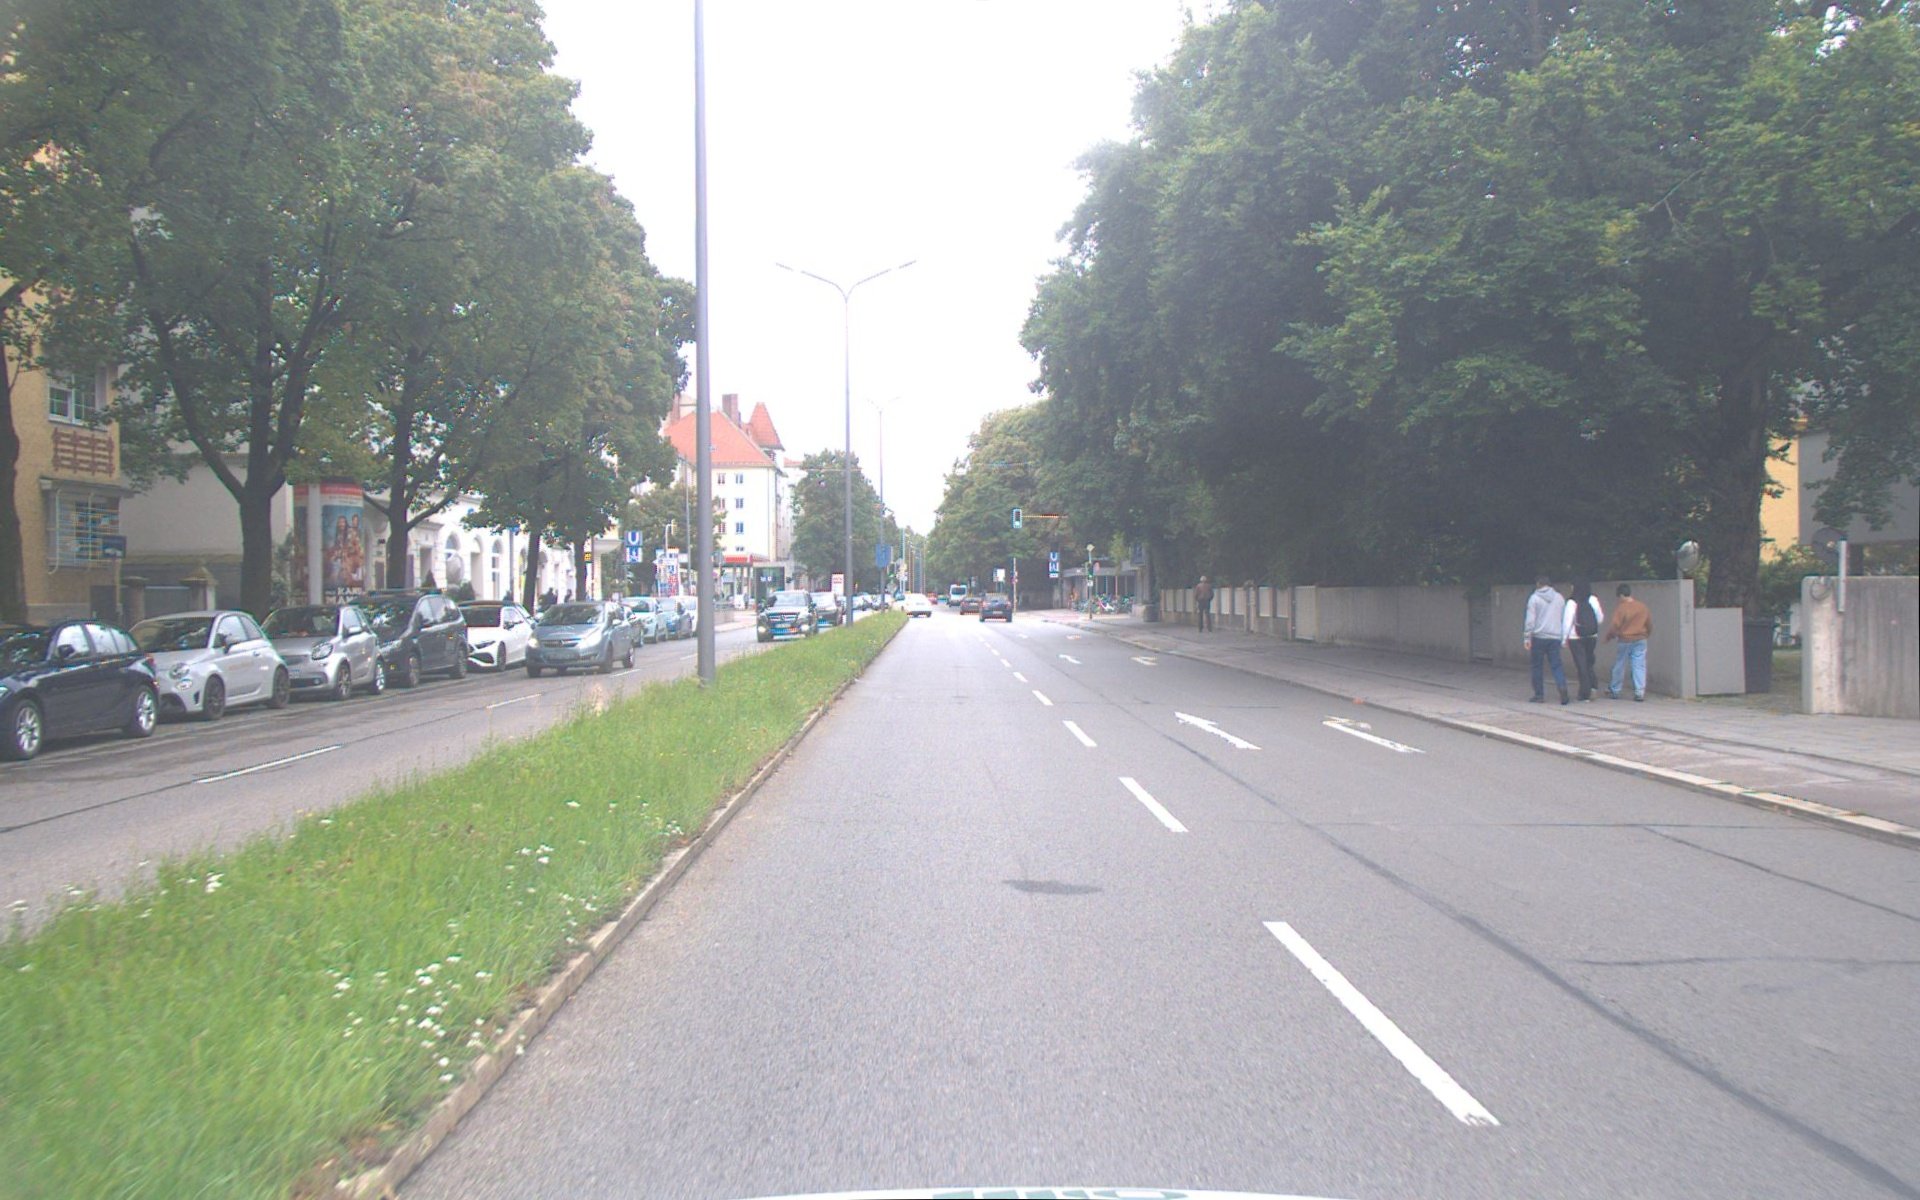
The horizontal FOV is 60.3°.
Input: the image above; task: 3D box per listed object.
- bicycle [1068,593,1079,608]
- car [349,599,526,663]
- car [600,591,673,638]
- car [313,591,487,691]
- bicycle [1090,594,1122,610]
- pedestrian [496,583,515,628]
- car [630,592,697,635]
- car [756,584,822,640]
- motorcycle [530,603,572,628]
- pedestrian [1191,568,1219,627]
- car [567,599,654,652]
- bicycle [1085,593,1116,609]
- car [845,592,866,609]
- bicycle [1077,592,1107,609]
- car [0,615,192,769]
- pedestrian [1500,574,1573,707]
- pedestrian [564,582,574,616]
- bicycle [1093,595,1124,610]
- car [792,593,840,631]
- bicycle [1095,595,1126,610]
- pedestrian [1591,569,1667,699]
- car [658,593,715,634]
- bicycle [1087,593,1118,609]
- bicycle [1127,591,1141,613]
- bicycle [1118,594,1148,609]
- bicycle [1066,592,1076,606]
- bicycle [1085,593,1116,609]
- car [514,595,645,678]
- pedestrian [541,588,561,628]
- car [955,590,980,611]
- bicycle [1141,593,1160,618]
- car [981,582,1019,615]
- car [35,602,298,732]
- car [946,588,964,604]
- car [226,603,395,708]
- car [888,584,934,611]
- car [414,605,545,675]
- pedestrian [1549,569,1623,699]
[{"bbox_3d":[8.263,0.021,120.647,0.545,1.032,2.014,-1,0,-3],"label":"bicycle"},{"bbox_3d":[-12.854,0.747,40.856,3.811,1.489,1.731,-1,0,-3],"label":"car"},{"bbox_3d":[-11.104,0.463,56.959,1.774,1.533,3.959,0,0,-1],"label":"car"},{"bbox_3d":[-10.622,0.713,31.747,1.773,1.758,4.766,-1,0,-1],"label":"car"},{"bbox_3d":[9.965,0.139,112.974,2.097,1.089,0.603,-1,0,7],"label":"bicycle"},{"bbox_3d":[-17.795,0.215,64.776,0.532,1.726,0.770,-1,0,-3],"label":"pedestrian"},{"bbox_3d":[-11.053,0.476,61.851,1.774,1.533,4.290,0,0,-1],"label":"car"},{"bbox_3d":[-5.641,0.370,55.030,1.733,1.708,4.368,-2,0,-1],"label":"car"},{"bbox_3d":[-18.925,0.697,76.565,0.598,1.150,1.977,0,-1,39],"label":"motorcycle"},{"bbox_3d":[8.373,-0.075,56.477,0.762,1.976,0.802,-2,0,-1],"label":"pedestrian"},{"bbox_3d":[-10.798,0.765,51.404,1.774,1.533,4.645,0,0,-1],"label":"car"},{"bbox_3d":[9.772,0.056,115.098,2.097,1.105,0.603,-1,0,7],"label":"bicycle"},{"bbox_3d":[-9.824,0.029,155.602,1.724,1.486,3.999,-1,0,-1],"label":"car"},{"bbox_3d":[9.461,0.035,118.152,2.097,1.240,0.603,-1,0,7],"label":"bicycle"},{"bbox_3d":[-10.202,0.919,18.007,1.691,1.430,4.362,0,0,-1],"label":"car"},{"bbox_3d":[7.854,0.536,22.545,0.653,1.752,0.728,-3,0,-2],"label":"pedestrian"},{"bbox_3d":[-19.313,-0.056,81.686,0.415,1.660,0.780,-1,0,-16],"label":"pedestrian"},{"bbox_3d":[10.015,0.179,111.593,2.097,1.032,0.603,-1,0,7],"label":"bicycle"},{"bbox_3d":[-6.806,0.548,78.386,1.837,1.612,4.620,-3,0,-1],"label":"car"},{"bbox_3d":[10.201,0.164,112.220,2.097,1.032,0.634,-1,0,7],"label":"bicycle"},{"bbox_3d":[9.242,0.465,22.863,0.653,1.735,0.766,-3,0,-2],"label":"pedestrian"},{"bbox_3d":[-11.070,0.534,67.216,1.615,1.612,3.790,0,0,1],"label":"car"},{"bbox_3d":[9.825,0.065,113.674,2.097,1.120,0.603,-1,0,7],"label":"bicycle"},{"bbox_3d":[9.533,0.112,90.676,0.587,1.141,1.889,-1,-1,-1],"label":"bicycle"},{"bbox_3d":[12.118,0.108,115.698,2.097,1.032,0.634,-1,0,7],"label":"bicycle"},{"bbox_3d":[8.273,-0.085,123.381,0.545,1.032,2.014,-1,0,-3],"label":"bicycle"},{"bbox_3d":[9.688,0.071,114.387,2.097,1.032,0.603,-1,0,7],"label":"bicycle"},{"bbox_3d":[-7.869,0.709,34.562,1.774,1.533,4.056,-3,0,-1],"label":"car"},{"bbox_3d":[-17.486,0.336,70.698,0.585,1.726,0.937,-1,0,-28],"label":"pedestrian"},{"bbox_3d":[0.522,0.040,119.320,1.743,1.499,3.892,0,0,-1],"label":"car"},{"bbox_3d":[8.701,0.226,75.516,0.609,1.109,2.025,-1,0,-1],"label":"bicycle"},{"bbox_3d":[2.128,-0.096,88.847,1.819,1.713,3.999,-1,0,-1],"label":"car"},{"bbox_3d":[-10.761,0.845,22.770,1.691,1.589,4.056,0,0,-1],"label":"car"},{"bbox_3d":[-0.550,-0.433,187.696,1.953,1.787,3.999,-1,0,-1],"label":"car"},{"bbox_3d":[-10.611,0.865,27.206,1.692,1.585,3.008,0,0,-3],"label":"car"},{"bbox_3d":[-3.137,-0.164,104.408,1.751,1.675,4.758,0,0,-17],"label":"car"},{"bbox_3d":[-10.712,0.847,37.173,1.691,1.427,4.403,-1,0,-1],"label":"car"},{"bbox_3d":[8.529,0.455,22.561,0.653,1.722,0.728,-3,0,-2],"label":"pedestrian"}]
